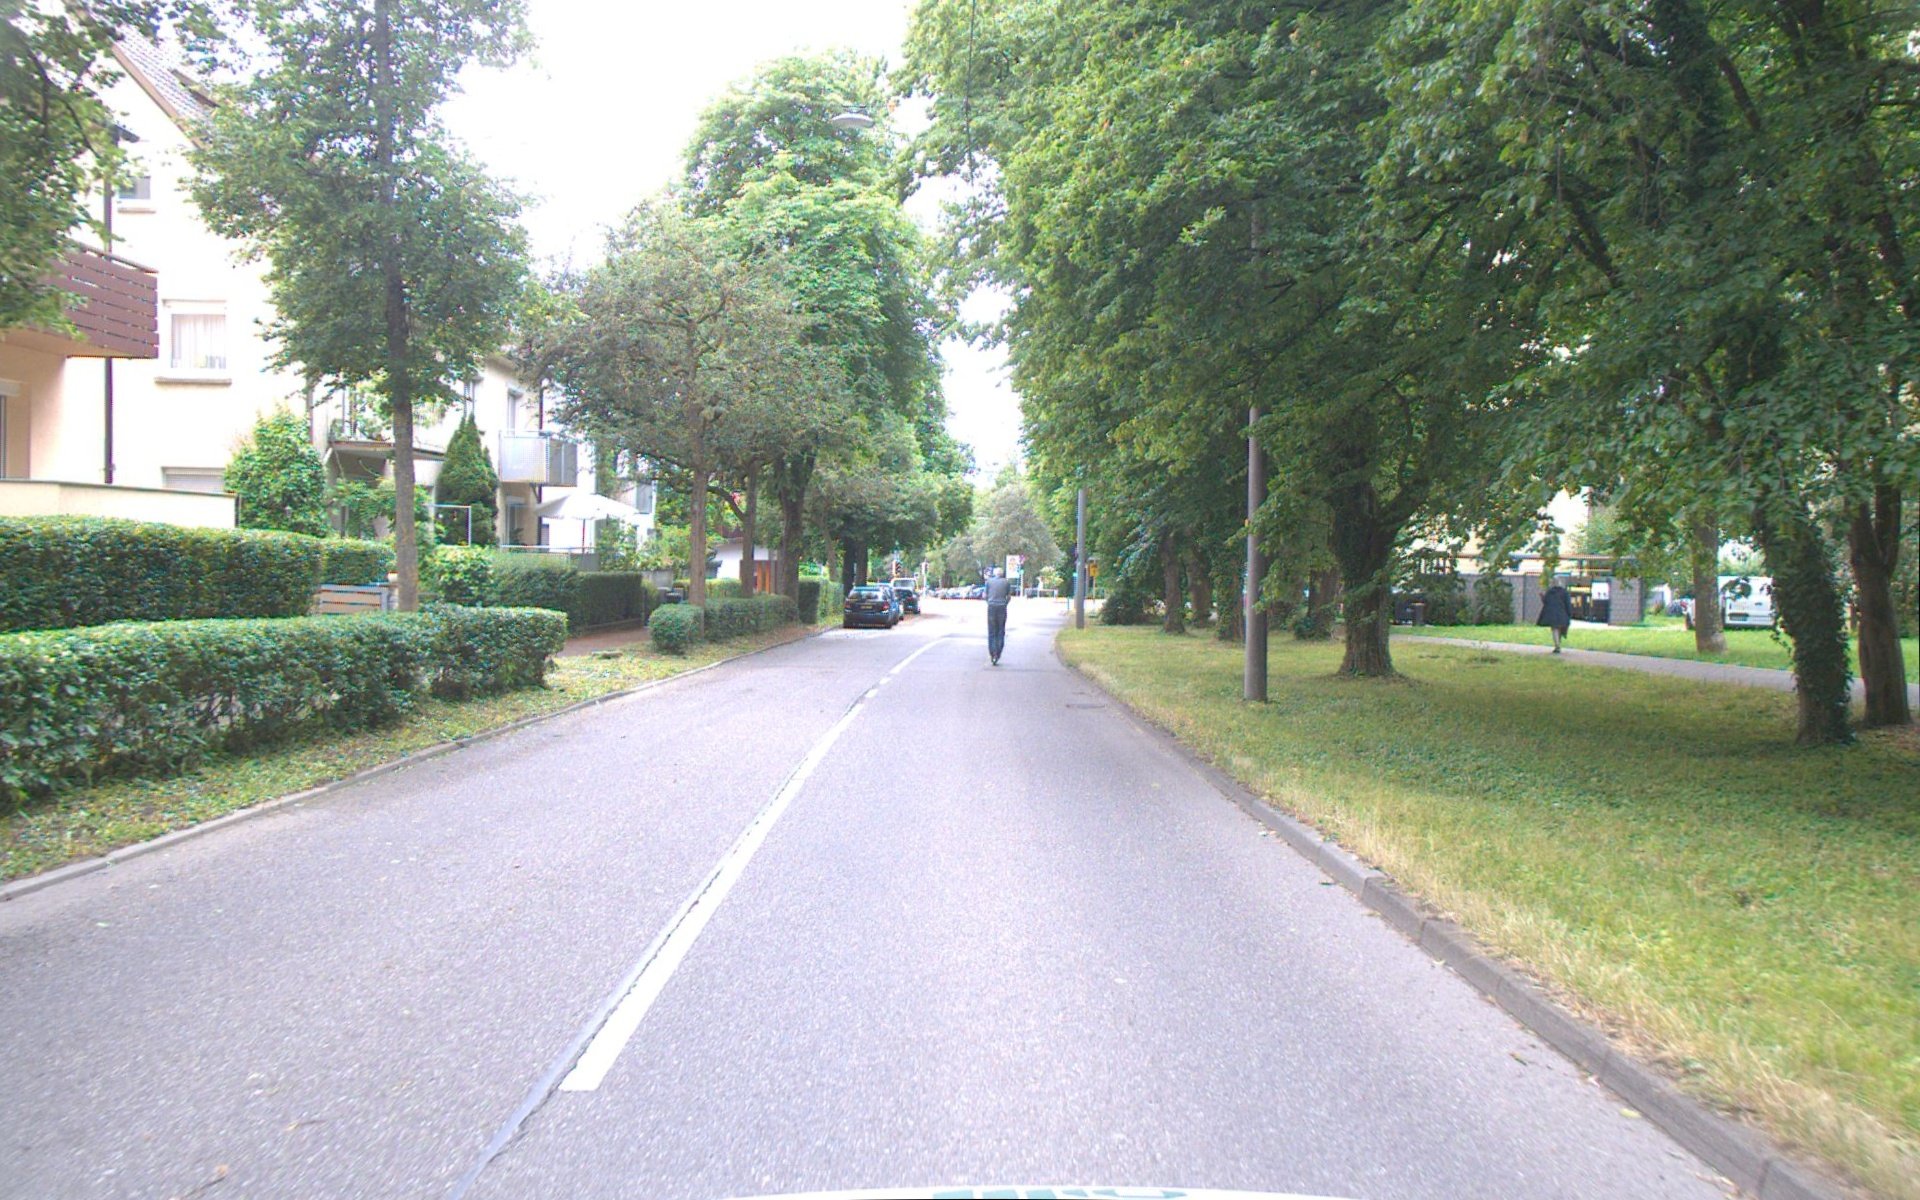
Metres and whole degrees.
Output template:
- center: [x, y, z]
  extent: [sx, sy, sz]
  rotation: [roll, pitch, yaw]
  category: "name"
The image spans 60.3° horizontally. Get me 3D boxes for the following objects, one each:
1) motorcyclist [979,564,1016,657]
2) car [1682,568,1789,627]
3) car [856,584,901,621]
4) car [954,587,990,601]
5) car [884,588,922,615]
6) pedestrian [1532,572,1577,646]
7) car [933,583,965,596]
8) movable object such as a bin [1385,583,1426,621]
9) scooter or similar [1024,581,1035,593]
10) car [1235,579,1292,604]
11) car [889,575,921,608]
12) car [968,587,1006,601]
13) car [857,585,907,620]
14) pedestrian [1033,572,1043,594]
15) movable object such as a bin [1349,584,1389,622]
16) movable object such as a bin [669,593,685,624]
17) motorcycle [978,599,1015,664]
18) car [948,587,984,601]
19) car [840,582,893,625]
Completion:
- center: [0.751, 0.206, 32.832]
  extent: [0.659, 1.792, 0.639]
  rotation: [2, 0, 2]
  category: "motorcyclist"
- center: [26.434, -0.130, 56.554]
  extent: [2.041, 1.875, 4.972]
  rotation: [0, 2, 9]
  category: "car"
- center: [-3.158, 0.071, 64.565]
  extent: [1.630, 1.416, 3.706]
  rotation: [0, 0, -1]
  category: "car"
- center: [1.361, -0.697, 182.598]
  extent: [3.906, 1.537, 1.799]
  rotation: [0, 0, -2]
  category: "car"
- center: [-3.106, 0.071, 90.877]
  extent: [1.852, 1.435, 4.554]
  rotation: [0, 0, 1]
  category: "car"
- center: [13.828, 0.204, 38.490]
  extent: [0.752, 1.716, 0.814]
  rotation: [0, 0, 0]
  category: "pedestrian"
- center: [-1.343, -1.305, 199.267]
  extent: [3.906, 1.537, 1.799]
  rotation: [0, 0, -2]
  category: "car"
- center: [18.334, 0.086, 68.068]
  extent: [1.299, 1.527, 1.314]
  rotation: [0, 0, -2]
  category: "movable object such as a bin"
- center: [5.866, -1.086, 139.081]
  extent: [0.695, 1.067, 0.787]
  rotation: [0, 0, 20]
  category: "scooter or similar"
- center: [22.007, -0.610, 119.791]
  extent: [3.902, 1.584, 1.802]
  rotation: [2, 3, 13]
  category: "car"
- center: [-3.401, -0.507, 101.809]
  extent: [1.821, 1.998, 4.500]
  rotation: [0, 0, -4]
  category: "car"
- center: [2.783, -0.631, 171.858]
  extent: [3.906, 1.537, 1.799]
  rotation: [0, 0, -2]
  category: "car"
- center: [-3.294, 0.084, 70.566]
  extent: [1.757, 1.435, 4.646]
  rotation: [0, 0, 2]
  category: "car"
- center: [6.543, -1.437, 138.777]
  extent: [0.717, 1.792, 0.662]
  rotation: [0, 0, 20]
  category: "pedestrian"
- center: [16.879, 0.105, 68.292]
  extent: [1.299, 1.527, 1.314]
  rotation: [0, 0, -2]
  category: "movable object such as a bin"
- center: [-8.735, 0.261, 51.069]
  extent: [0.447, 0.931, 0.508]
  rotation: [0, 0, -5]
  category: "movable object such as a bin"
- center: [0.733, 0.609, 32.701]
  extent: [0.659, 1.238, 1.274]
  rotation: [2, 0, 2]
  category: "motorcycle"
- center: [0.670, -0.719, 184.505]
  extent: [3.906, 1.537, 1.799]
  rotation: [0, 0, -2]
  category: "car"
- center: [-3.345, 0.116, 59.674]
  extent: [1.758, 1.498, 4.417]
  rotation: [0, 0, -1]
  category: "car"
